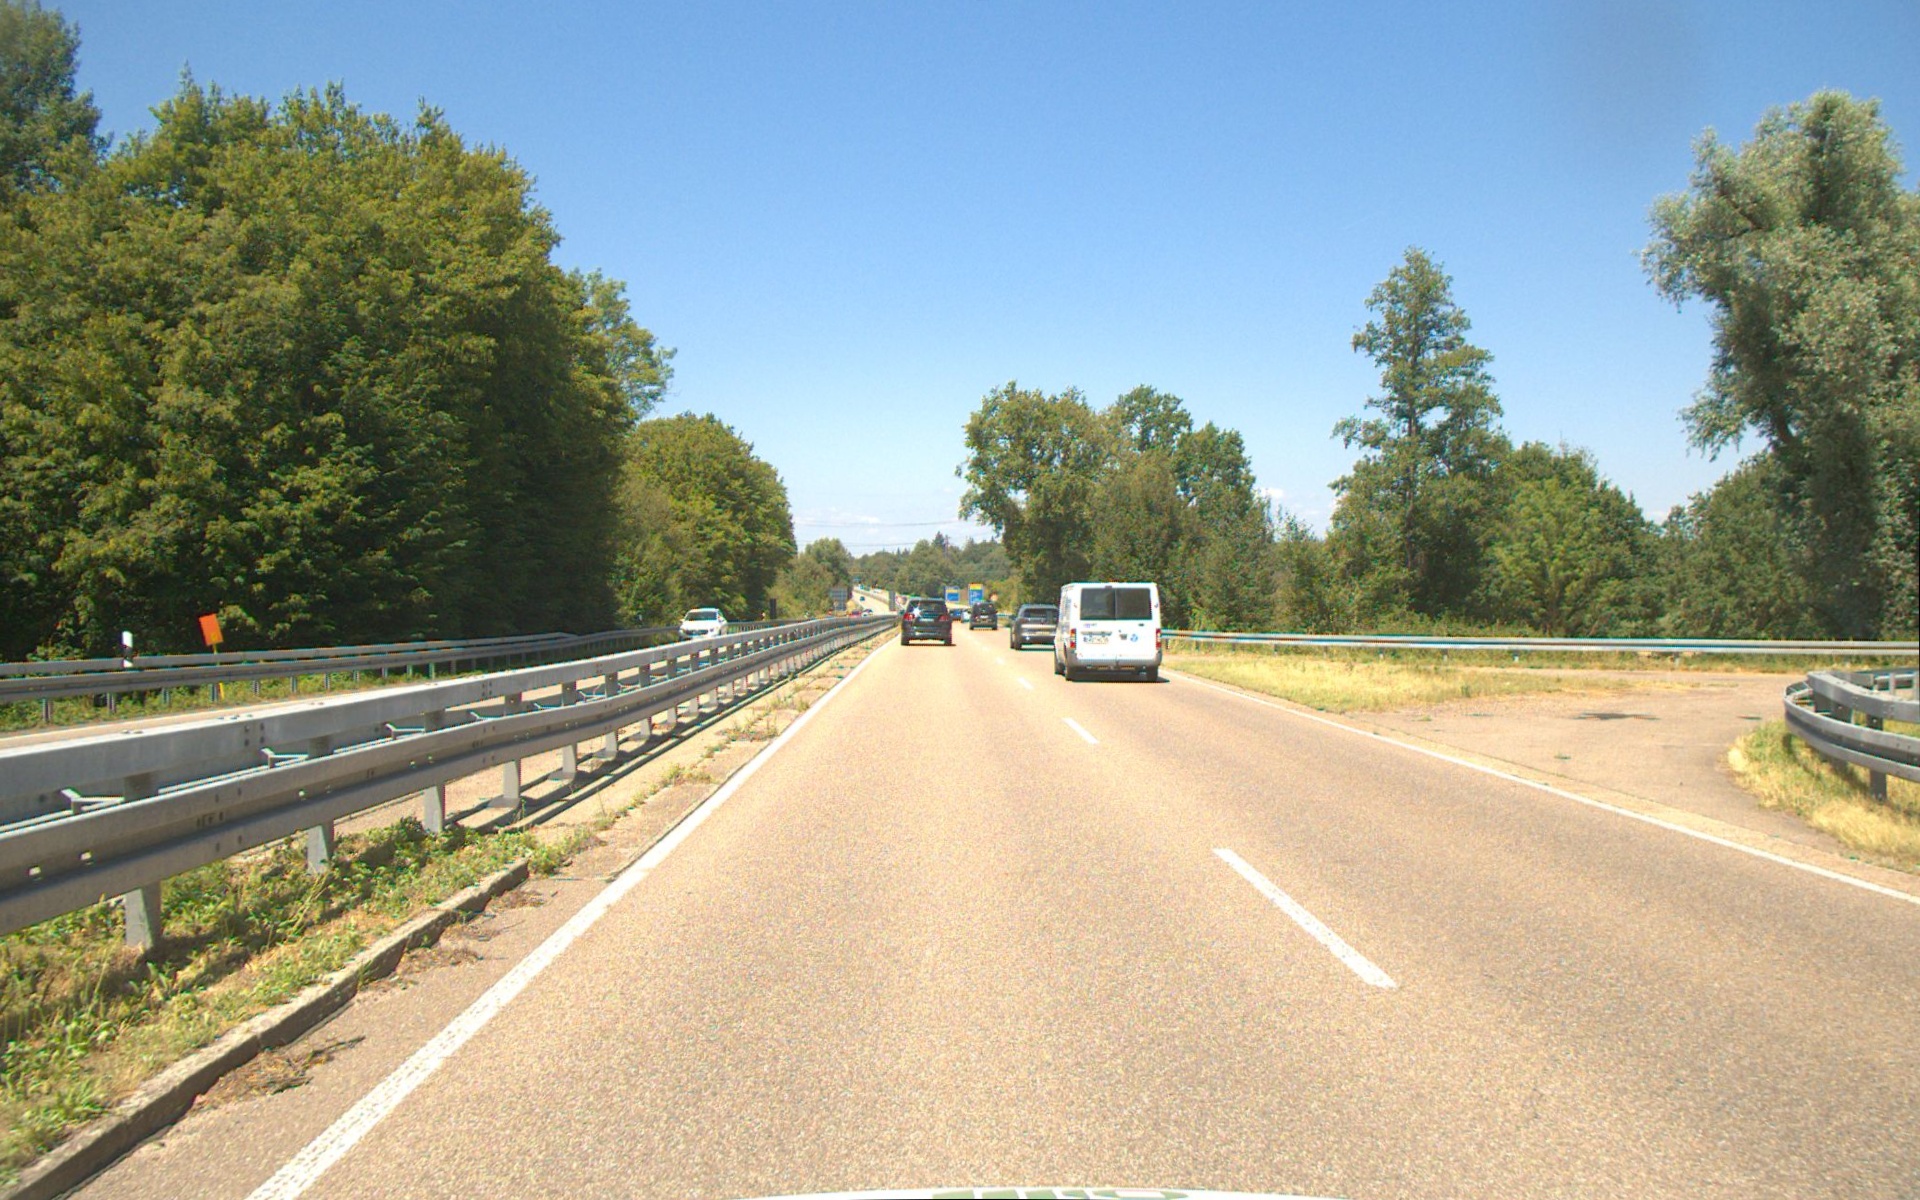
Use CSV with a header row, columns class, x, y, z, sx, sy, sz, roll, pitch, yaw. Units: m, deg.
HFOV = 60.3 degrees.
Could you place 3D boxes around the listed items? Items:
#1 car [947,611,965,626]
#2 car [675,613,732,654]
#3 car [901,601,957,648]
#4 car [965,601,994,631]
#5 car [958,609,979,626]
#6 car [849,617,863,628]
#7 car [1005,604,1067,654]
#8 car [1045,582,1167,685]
class,x,y,z,sx,sy,sz,roll,pitch,yaw
car,-0.426,1.942,173.485,1.783,1.439,3.998,-2,0,-2
car,-11.176,1.438,72.397,1.782,1.626,4.839,-2,0,-2
car,-1.190,0.895,62.267,1.954,1.683,3.998,-1,0,-3
car,1.295,1.045,110.285,1.744,1.848,4.212,-1,0,-1
car,0.789,1.648,157.963,1.743,1.505,4.313,-1,0,-3
car,-14.575,3.172,231.306,1.740,1.444,4.573,-1,-1,-2
car,2.549,0.964,56.345,1.749,1.580,4.017,-1,0,-2
car,3.036,0.710,35.358,1.965,2.024,5.031,0,-1,-2
